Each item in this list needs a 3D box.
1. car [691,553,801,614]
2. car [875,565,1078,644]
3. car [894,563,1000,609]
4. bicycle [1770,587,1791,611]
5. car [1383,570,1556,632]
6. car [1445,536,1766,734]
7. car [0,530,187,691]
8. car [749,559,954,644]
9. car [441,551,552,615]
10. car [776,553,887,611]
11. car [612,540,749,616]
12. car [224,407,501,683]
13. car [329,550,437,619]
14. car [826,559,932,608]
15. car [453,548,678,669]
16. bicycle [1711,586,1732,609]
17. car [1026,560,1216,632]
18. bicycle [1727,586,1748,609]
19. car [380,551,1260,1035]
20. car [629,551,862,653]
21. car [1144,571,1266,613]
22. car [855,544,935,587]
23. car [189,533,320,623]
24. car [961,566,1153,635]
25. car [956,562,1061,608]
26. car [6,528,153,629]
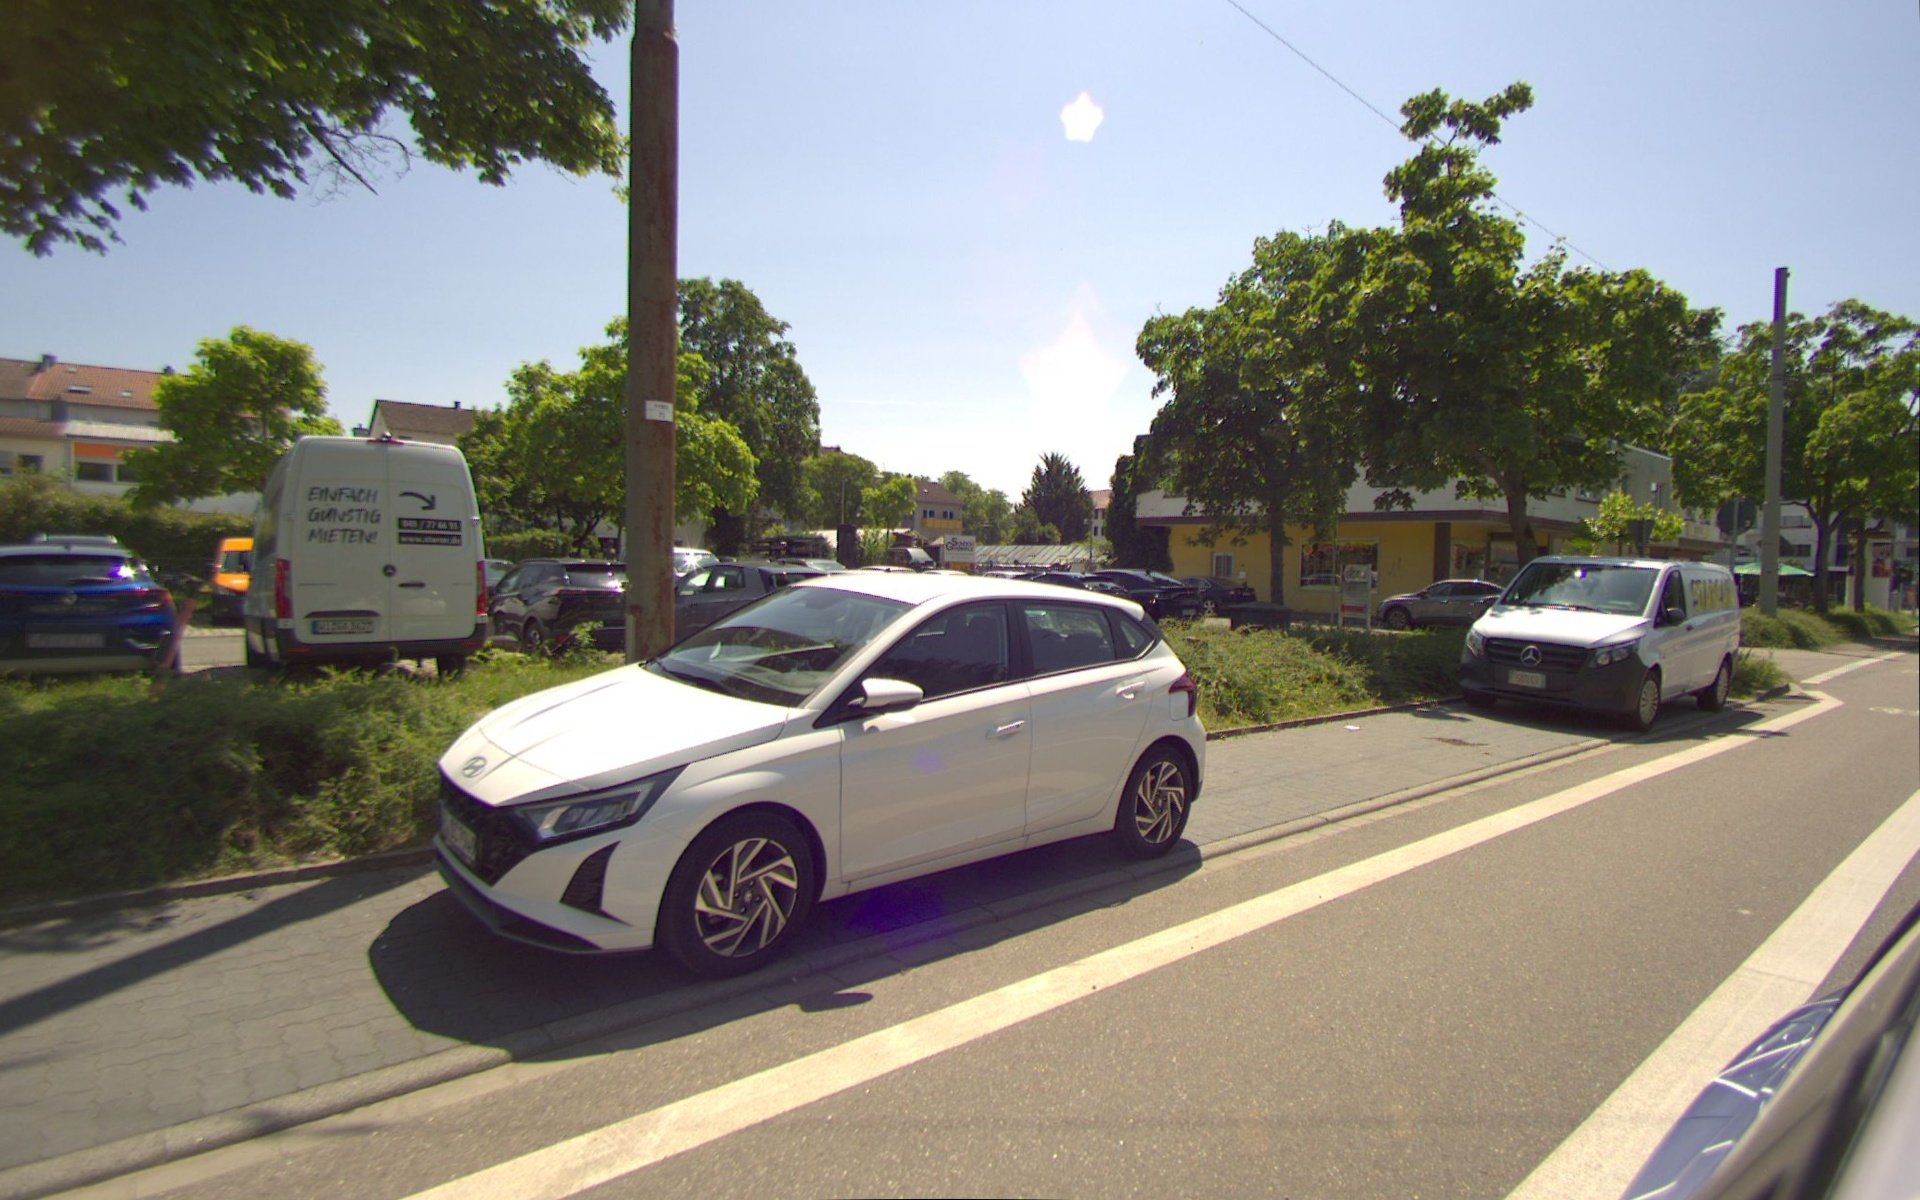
[{"bbox_3d":[-6.584,-0.553,30.911,1.603,1.624,3.990,0,4,-40],"label":"car"},{"bbox_3d":[0.222,0.074,19.254,1.698,1.342,3.892,-1,0,-41],"label":"car"},{"bbox_3d":[-0.528,-0.537,36.009,1.603,1.386,3.990,0,4,-40],"label":"car"},{"bbox_3d":[38.505,-0.038,47.469,0.542,1.081,1.990,3,2,44],"label":"bicycle"},{"bbox_3d":[14.919,-0.030,29.769,1.912,1.630,4.143,-1,2,-44],"label":"car"},{"bbox_3d":[8.152,0.295,12.562,5.034,1.939,1.884,0,4,-41],"label":"car"},{"bbox_3d":[-9.805,0.091,11.153,1.699,1.490,3.890,-1,0,-43],"label":"car"},{"bbox_3d":[-2.014,0.012,17.967,1.698,1.342,3.892,-1,0,-41],"label":"car"},{"bbox_3d":[-12.325,-0.502,26.757,1.603,1.454,4.321,0,4,-40],"label":"car"},{"bbox_3d":[-4.176,-0.612,32.403,1.638,1.620,3.990,0,4,-40],"label":"car"},{"bbox_3d":[-8.174,-0.712,29.305,1.876,1.923,4.928,0,4,-41],"label":"car"},{"bbox_3d":[-7.692,-0.517,12.603,2.222,2.561,6.357,0,0,-38],"label":"car"},{"bbox_3d":[-14.348,-0.440,25.063,1.603,1.454,4.321,0,4,-40],"label":"car"},{"bbox_3d":[-2.840,-0.591,34.855,1.603,1.461,3.990,0,4,-40],"label":"car"},{"bbox_3d":[-5.752,0.101,14.512,1.699,1.490,3.890,-1,0,-43],"label":"car"},{"bbox_3d":[37.060,-0.134,49.216,0.542,1.081,1.990,3,2,44],"label":"bicycle"},{"bbox_3d":[3.583,-0.087,23.111,1.650,1.509,4.205,-1,0,-41],"label":"car"},{"bbox_3d":[37.508,-0.120,48.811,0.542,1.081,1.990,3,2,44],"label":"bicycle"},{"bbox_3d":[-0.420,0.550,5.138,4.136,1.445,1.726,-1,4,-41],"label":"car"},{"bbox_3d":[-3.449,0.024,15.904,3.885,1.397,1.701,0,0,44],"label":"car"},{"bbox_3d":[8.905,-0.341,37.014,1.717,1.391,4.148,0,2,-40],"label":"car"},{"bbox_3d":[-3.859,-2.026,59.351,1.965,2.443,5.082,0,2,-41],"label":"car"},{"bbox_3d":[-16.381,-0.595,23.375,2.058,1.773,5.167,0,4,-40],"label":"car"},{"bbox_3d":[1.944,0.004,21.152,1.698,1.297,3.892,-1,0,-41],"label":"car"},{"bbox_3d":[1.768,-0.591,37.648,1.603,1.454,3.990,0,4,-40],"label":"car"},{"bbox_3d":[-17.964,-0.533,20.804,2.058,1.773,5.167,0,4,-40],"label":"car"}]
